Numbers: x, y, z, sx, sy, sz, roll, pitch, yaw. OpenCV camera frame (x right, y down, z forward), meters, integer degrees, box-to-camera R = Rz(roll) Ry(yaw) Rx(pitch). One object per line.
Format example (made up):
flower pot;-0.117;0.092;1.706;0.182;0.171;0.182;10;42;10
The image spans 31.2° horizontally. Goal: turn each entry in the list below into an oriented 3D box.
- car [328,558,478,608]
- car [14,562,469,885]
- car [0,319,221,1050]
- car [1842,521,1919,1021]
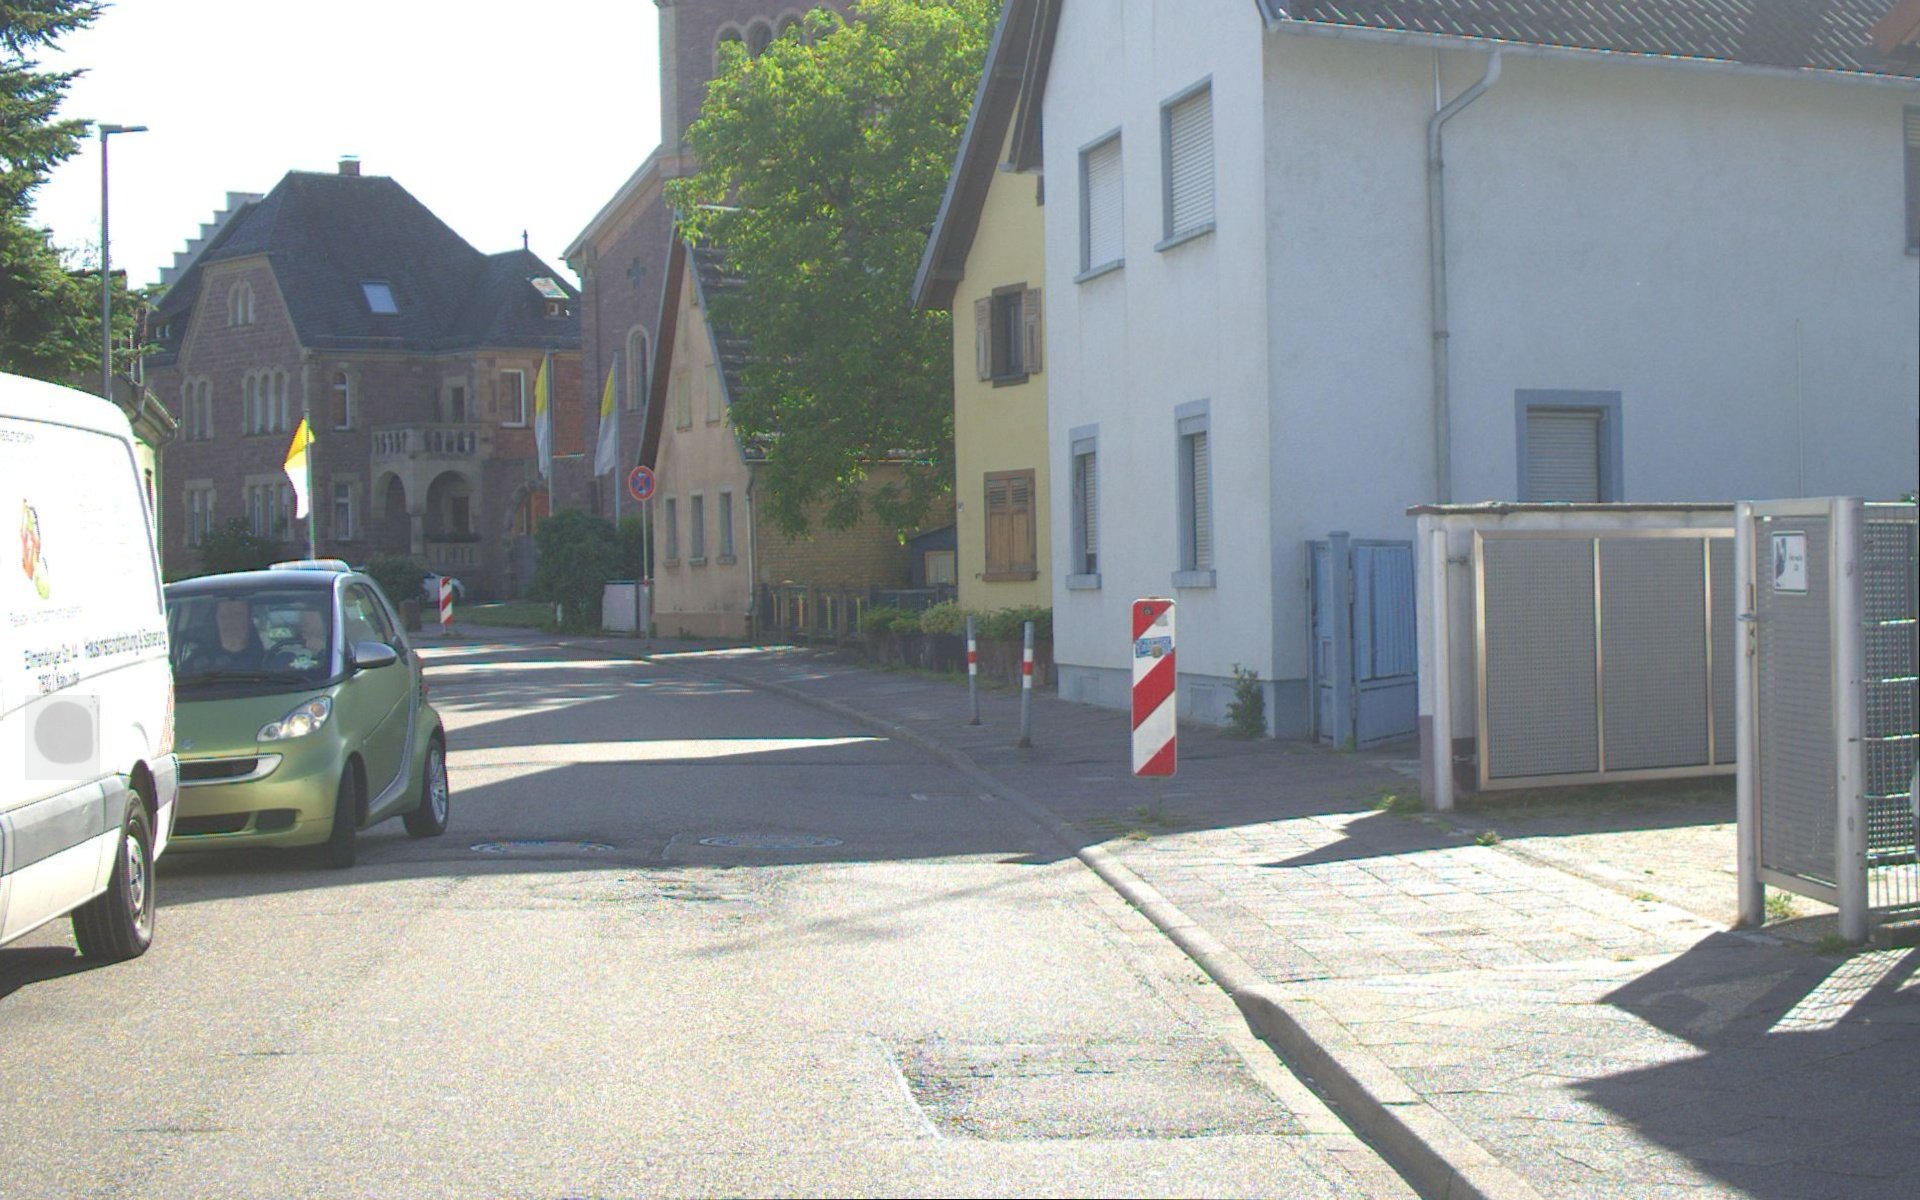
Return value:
car;-16.985;-0.528;104.862;4.236;1.396;1.717;-2;1;-43
car;-3.777;0.599;18.520;1.574;1.541;2.965;-1;1;5
car;-4.273;0.296;11.952;2.197;2.381;6.065;-3;1;-2
car;4.824;0.440;10.418;3.913;1.487;1.847;-2;1;7
